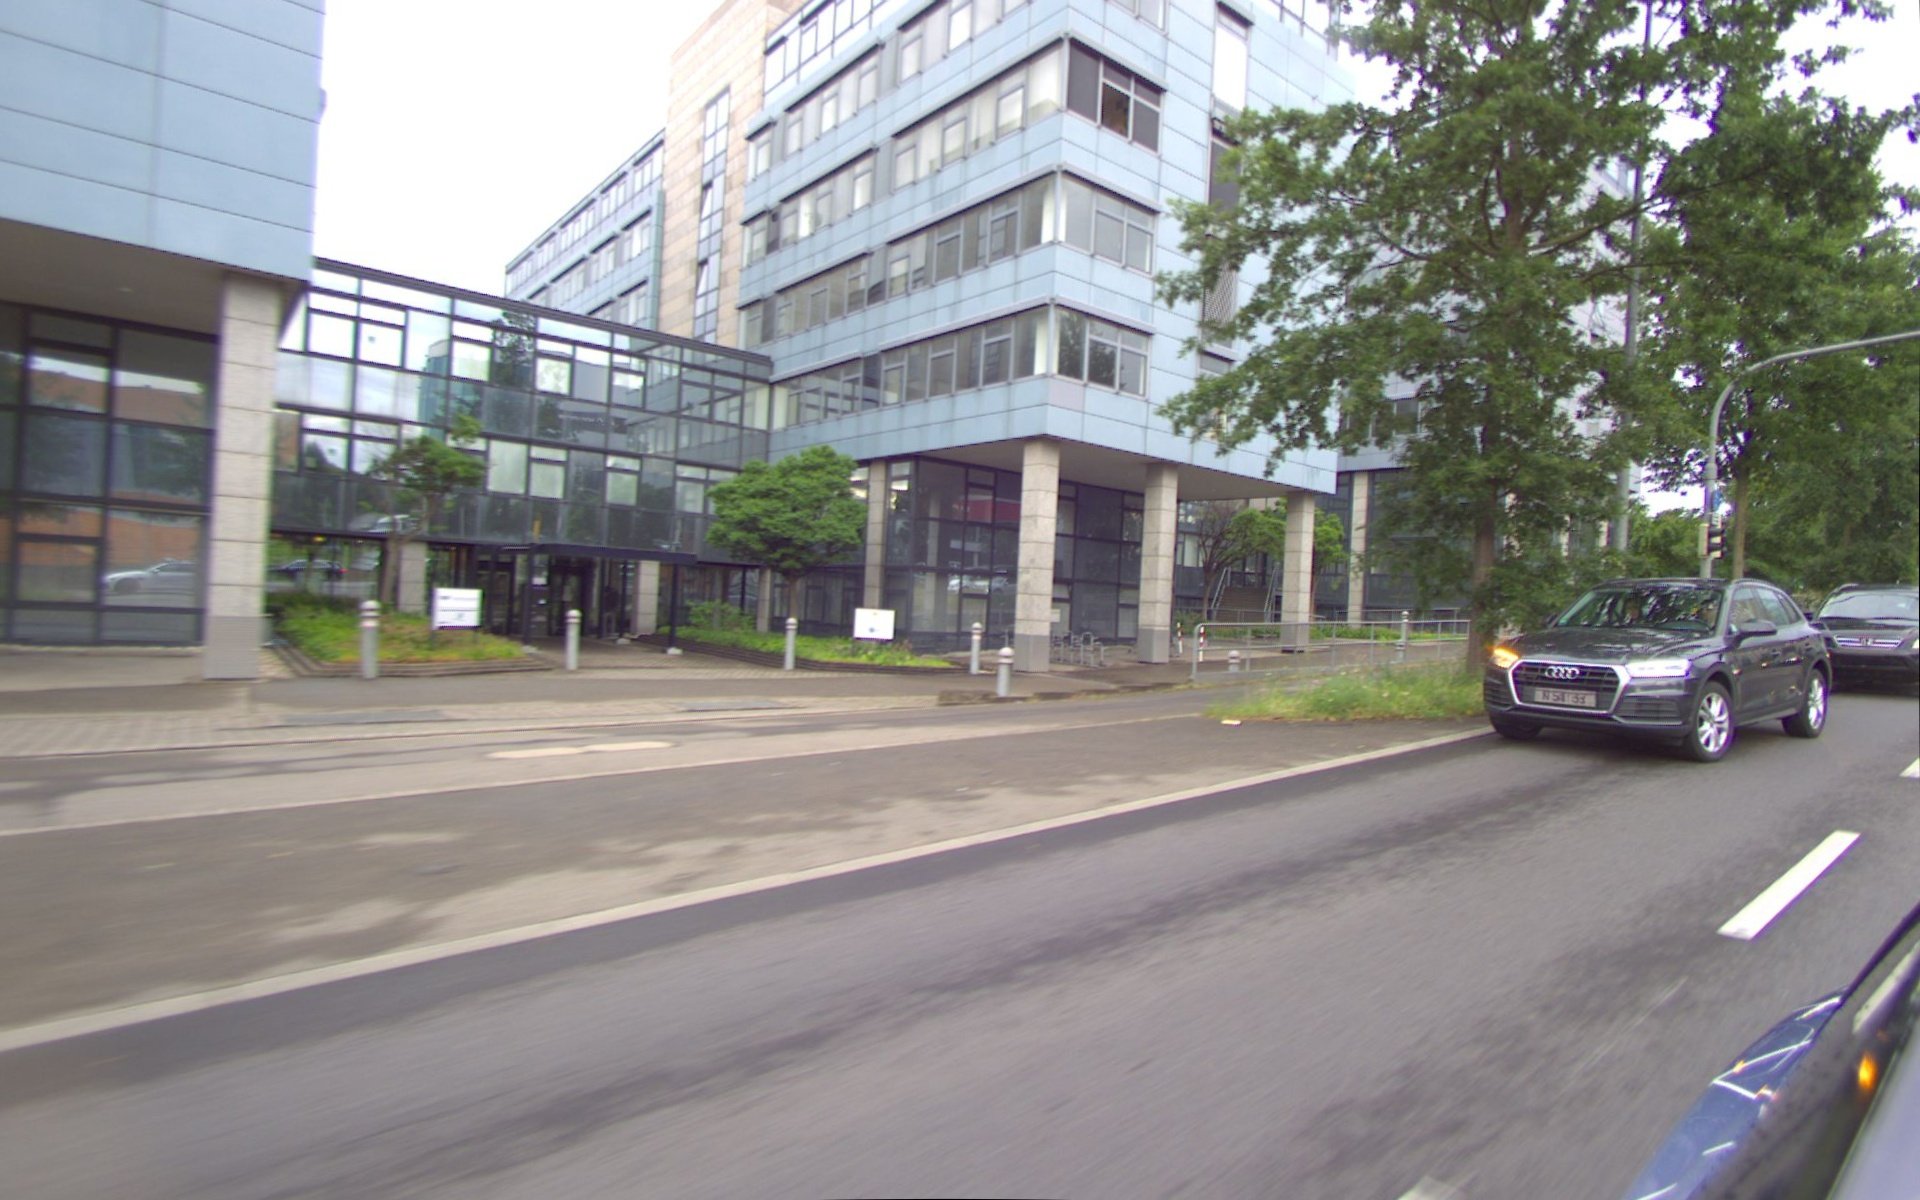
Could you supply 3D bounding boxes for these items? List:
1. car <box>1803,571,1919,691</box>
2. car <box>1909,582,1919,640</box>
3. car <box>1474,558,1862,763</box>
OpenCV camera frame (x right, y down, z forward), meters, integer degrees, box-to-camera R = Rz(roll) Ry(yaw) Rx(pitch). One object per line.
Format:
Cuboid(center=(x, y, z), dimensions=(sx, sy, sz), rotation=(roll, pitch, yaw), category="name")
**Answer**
Cuboid(center=(14.916, 0.433, 15.940), dimensions=(4.469, 1.691, 1.815), rotation=(0, 1, -41), category="car")
Cuboid(center=(27.821, 0.327, 27.986), dimensions=(4.034, 1.562, 1.871), rotation=(0, 1, -41), category="car")
Cuboid(center=(7.292, 0.497, 10.299), dimensions=(4.286, 1.691, 1.818), rotation=(0, 1, -34), category="car")
